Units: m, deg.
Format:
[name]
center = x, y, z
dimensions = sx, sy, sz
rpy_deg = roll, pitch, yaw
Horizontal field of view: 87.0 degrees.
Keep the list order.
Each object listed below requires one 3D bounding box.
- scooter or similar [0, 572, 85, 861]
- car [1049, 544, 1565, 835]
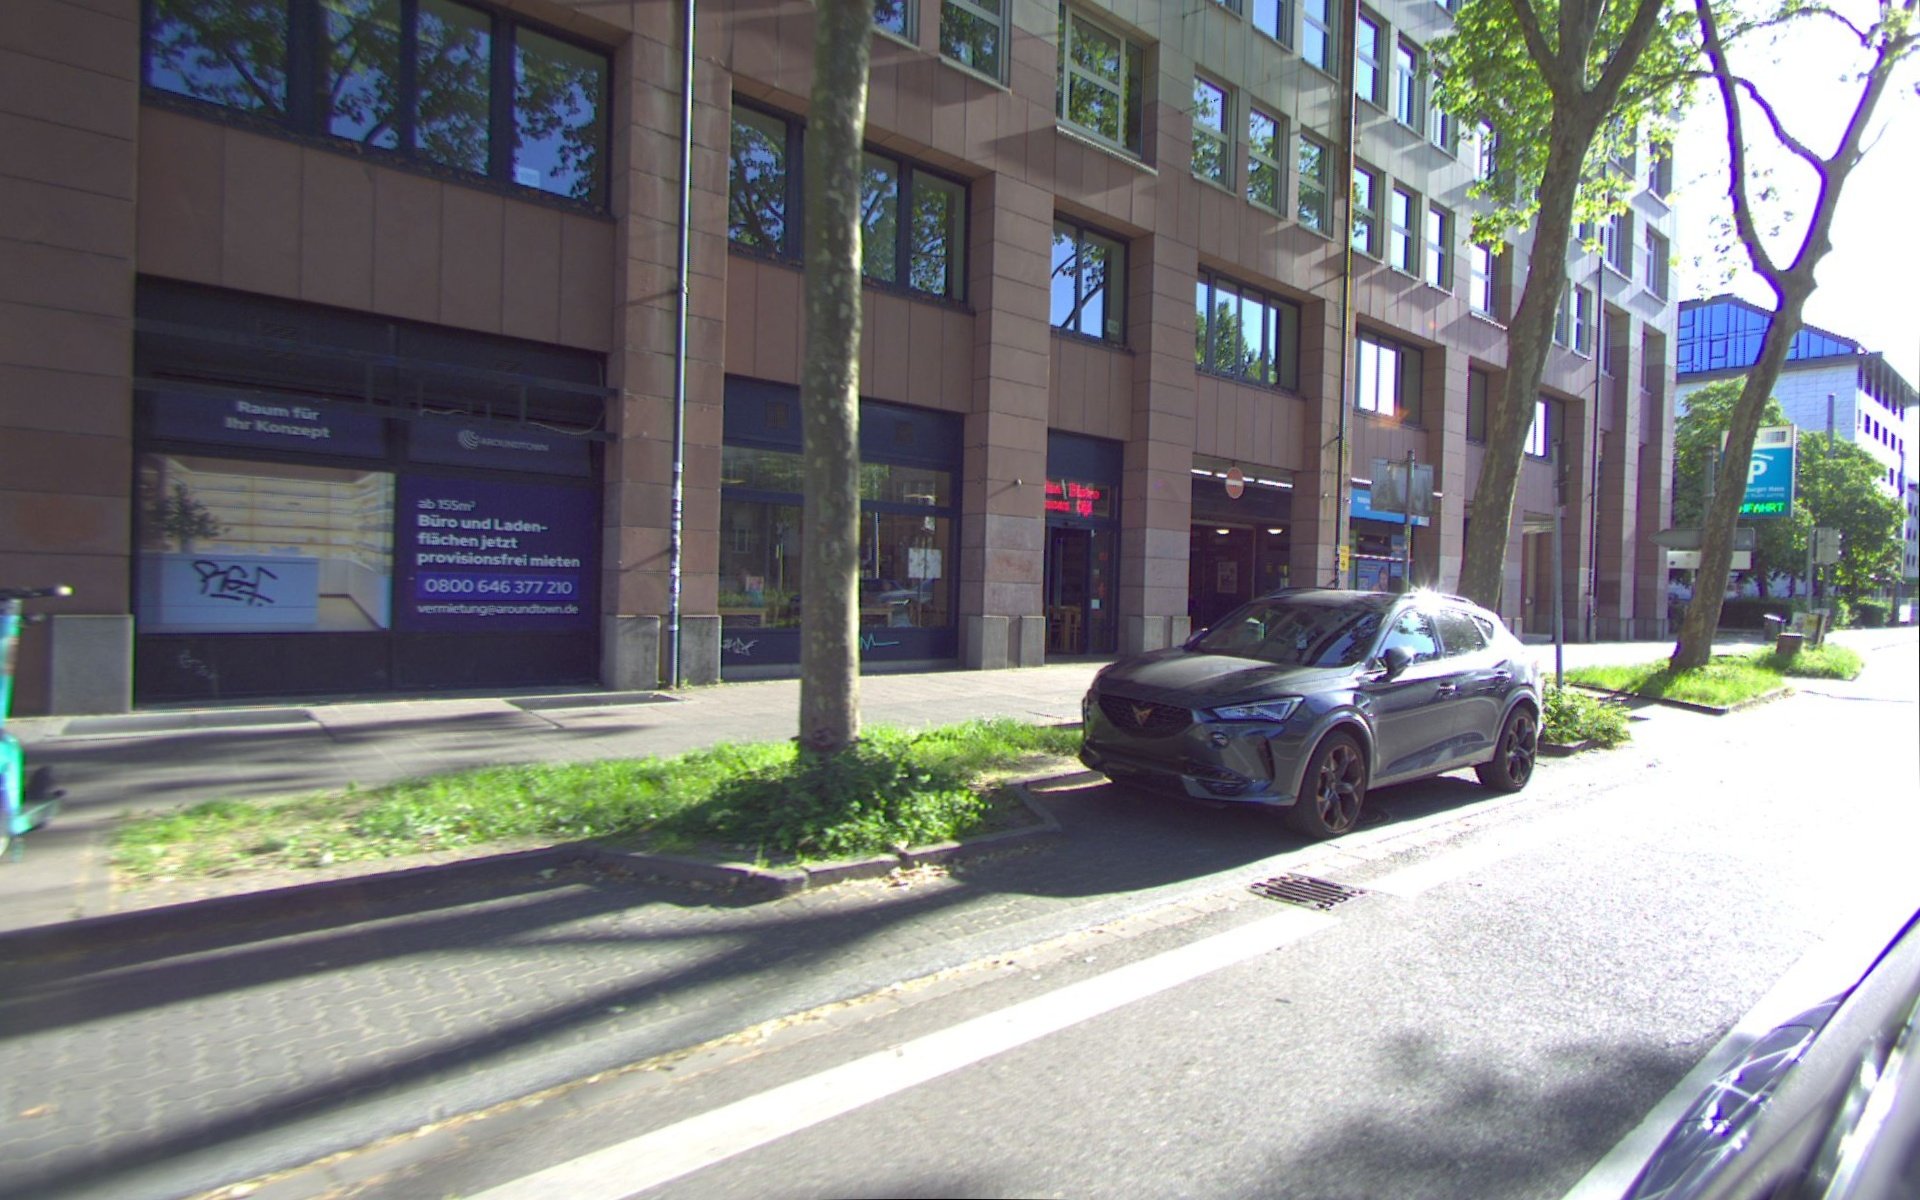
[scooter or similar]
center = -4.655, 0.493, 4.997
dimensions = 0.441, 1.253, 1.544
rpy_deg = 0, 1, -39
[car]
center = 2.752, 0.485, 7.538
dimensions = 4.203, 1.590, 1.671
rpy_deg = 0, 0, -39
